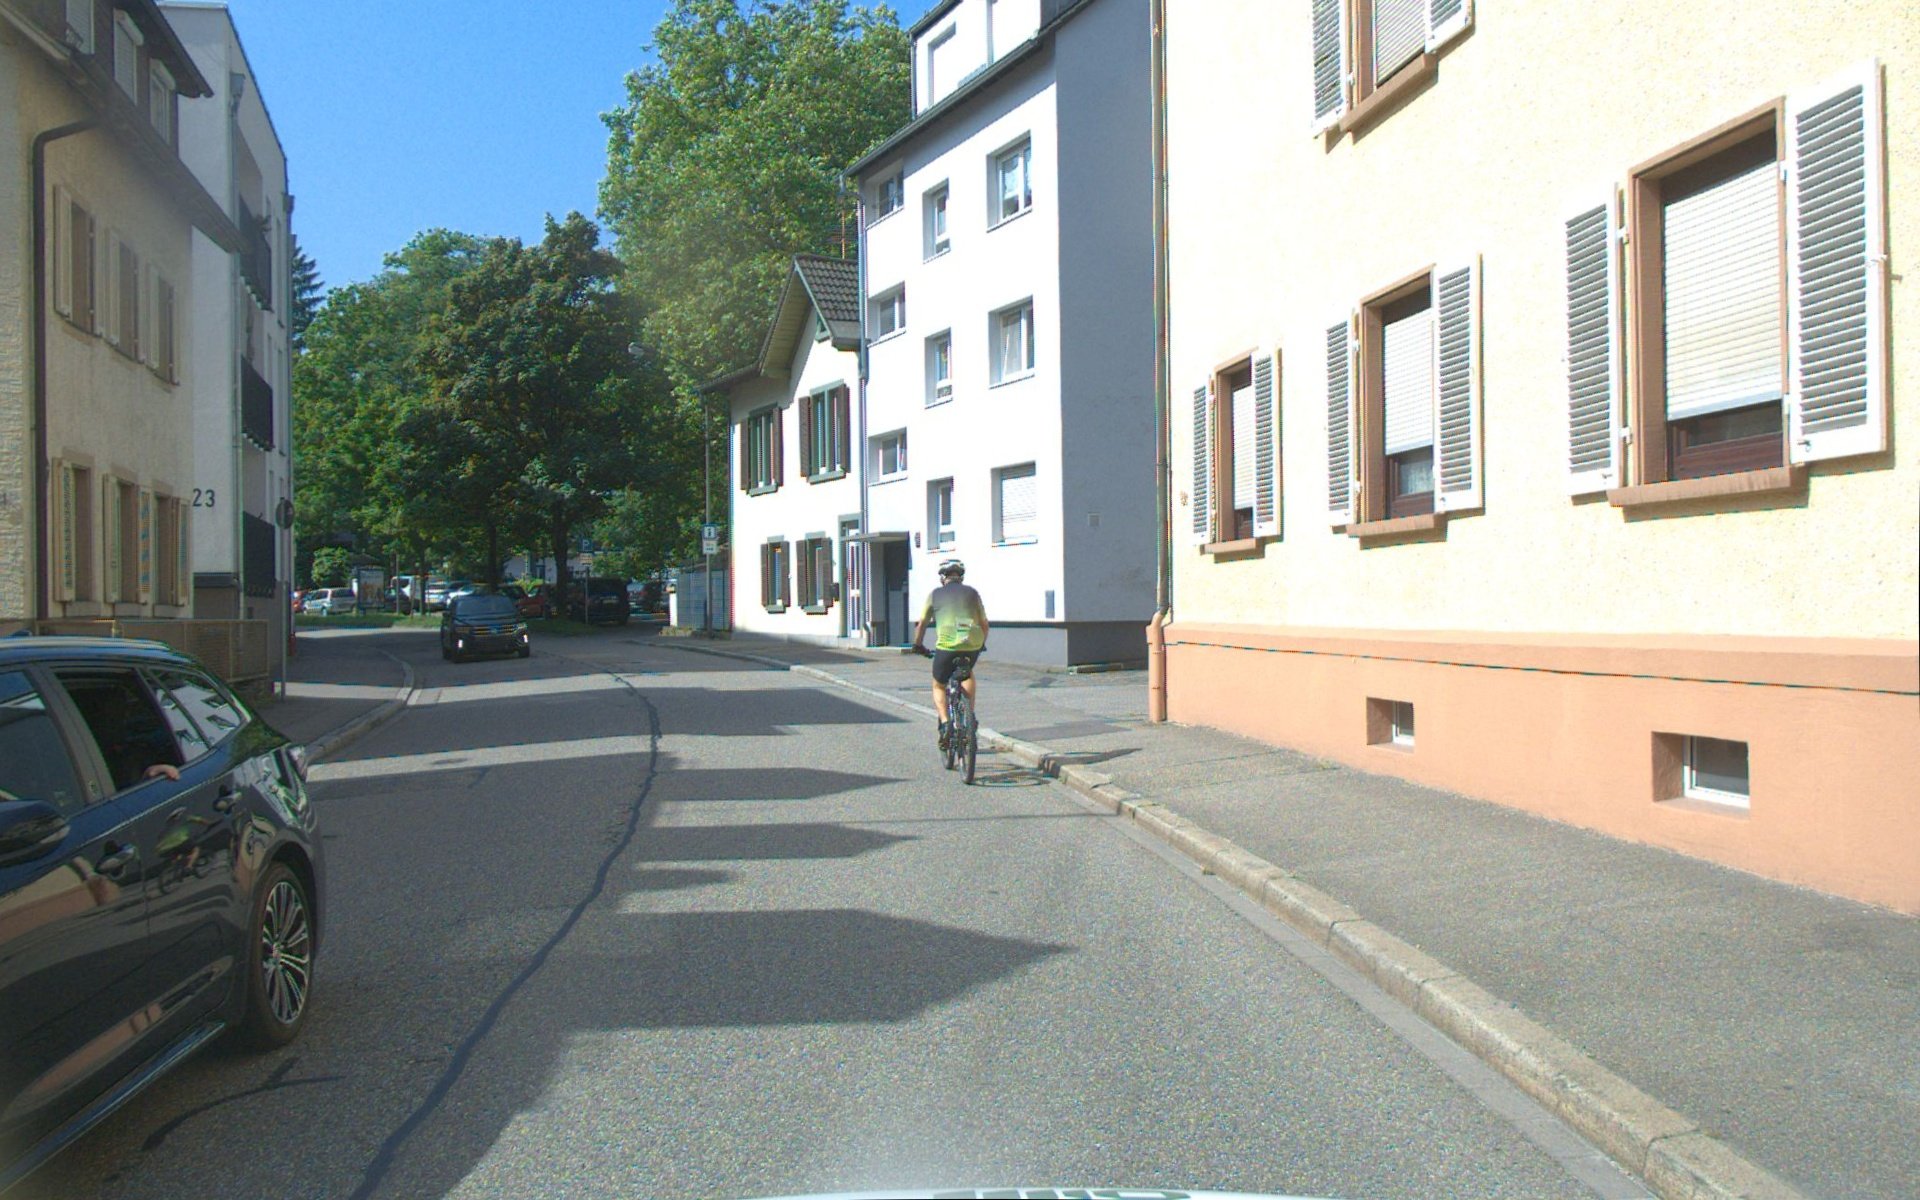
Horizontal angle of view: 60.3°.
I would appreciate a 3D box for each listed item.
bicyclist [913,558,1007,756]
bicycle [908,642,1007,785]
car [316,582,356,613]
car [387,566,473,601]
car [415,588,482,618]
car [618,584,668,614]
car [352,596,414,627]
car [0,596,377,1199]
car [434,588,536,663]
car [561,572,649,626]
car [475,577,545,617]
[{"bbox_3d":[-0.012,0.455,13.545,0.672,1.558,0.715,-2,0,-5],"label":"bicyclist"},{"bbox_3d":[-0.038,0.903,13.586,0.685,1.053,1.469,0,0,-5],"label":"bicycle"},{"bbox_3d":[-32.550,-0.130,86.204,1.721,1.579,3.725,-1,0,-24],"label":"car"},{"bbox_3d":[-29.820,-0.923,93.176,1.954,1.887,4.697,0,0,25],"label":"car"},{"bbox_3d":[-27.698,0.161,89.650,1.771,1.579,4.004,-1,0,11],"label":"car"},{"bbox_3d":[-14.223,-0.056,74.096,1.560,1.279,3.833,-2,1,-21],"label":"car"},{"bbox_3d":[-28.715,0.541,82.318,1.665,1.493,3.355,-1,1,-44],"label":"car"},{"bbox_3d":[-2.918,0.802,4.151,1.627,1.474,4.255,-4,1,-5],"label":"car"},{"bbox_3d":[-11.469,0.579,39.769,1.800,1.563,3.972,-5,2,-23],"label":"car"},{"bbox_3d":[-13.016,-0.073,60.474,1.807,1.822,3.953,-2,2,-34],"label":"car"},{"bbox_3d":[-19.249,-0.155,70.623,1.694,1.569,3.953,-2,2,-34],"label":"car"}]
